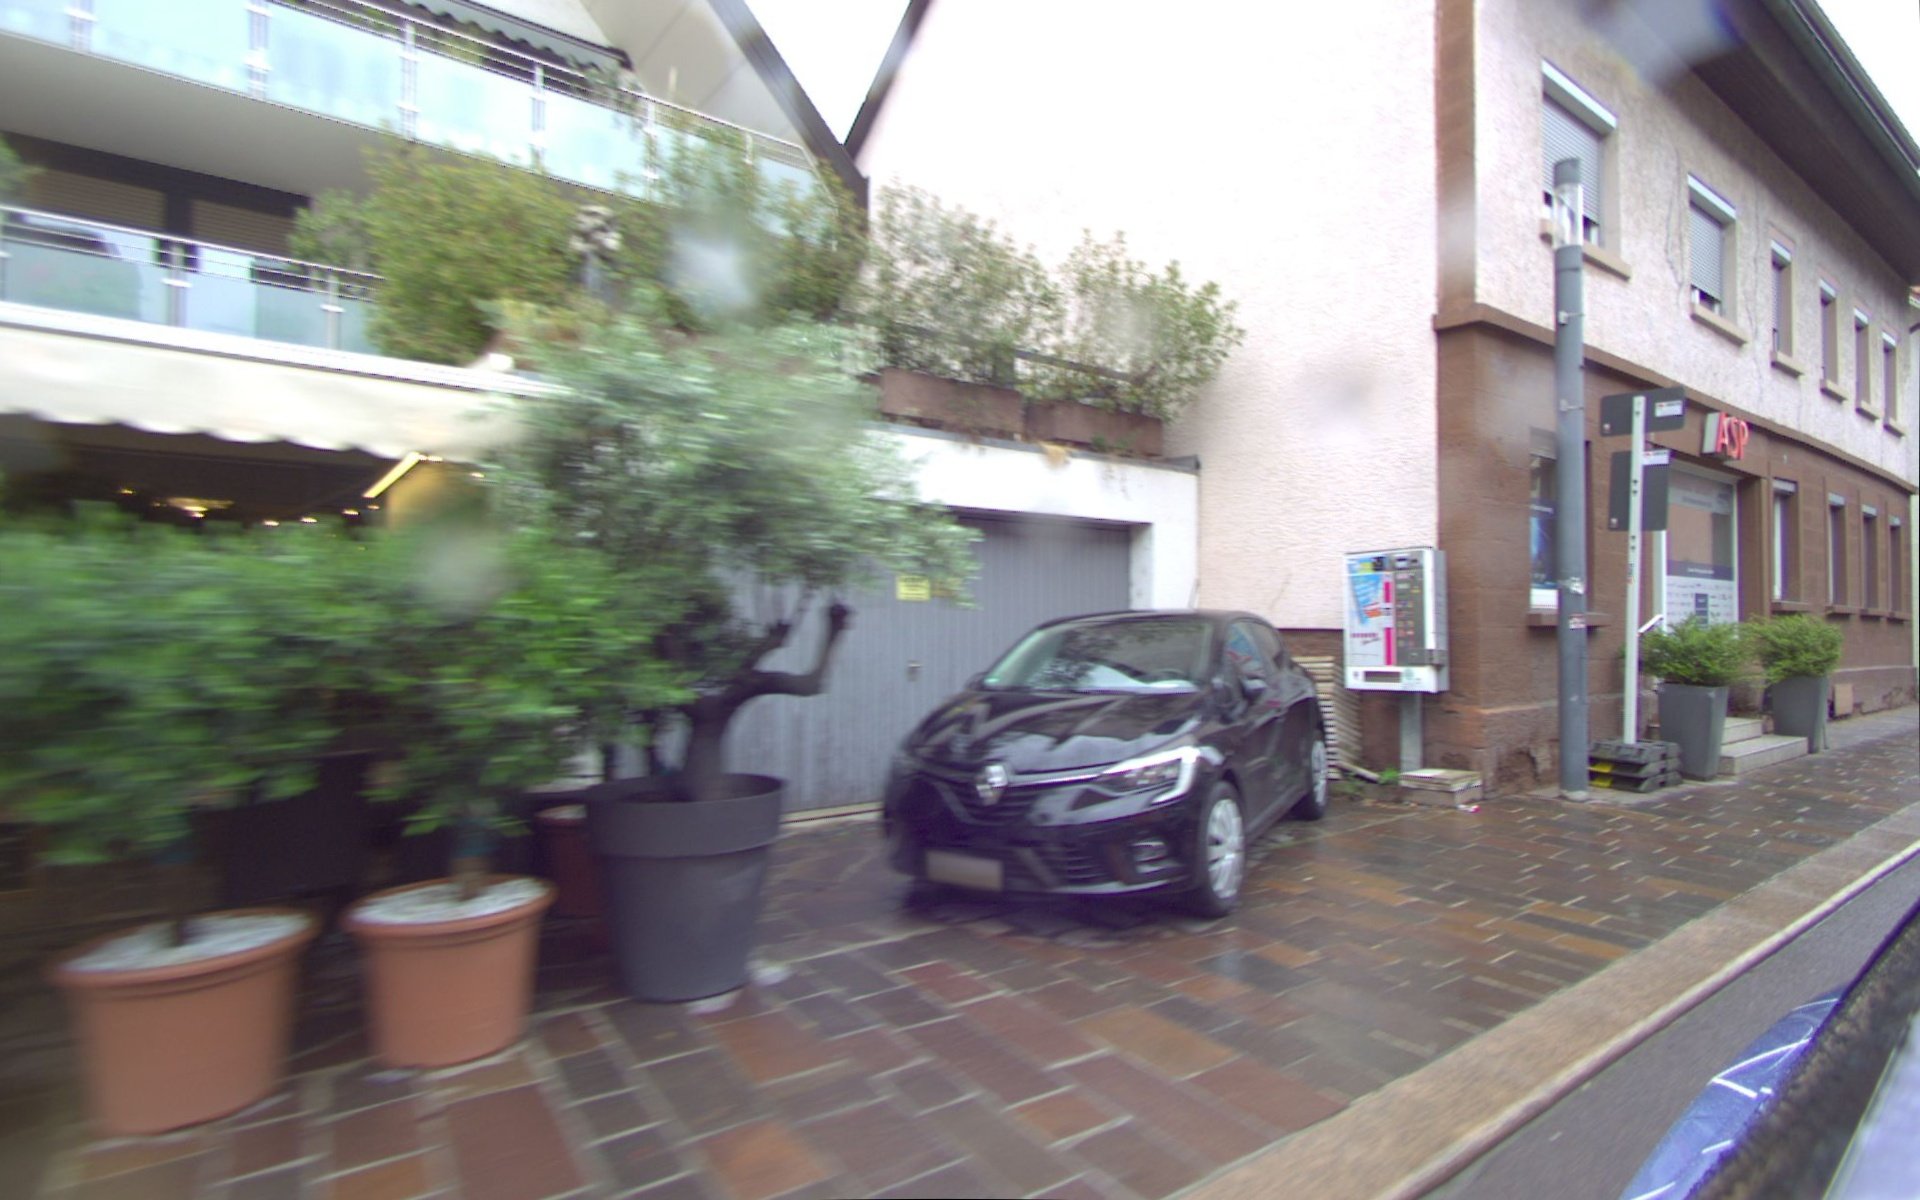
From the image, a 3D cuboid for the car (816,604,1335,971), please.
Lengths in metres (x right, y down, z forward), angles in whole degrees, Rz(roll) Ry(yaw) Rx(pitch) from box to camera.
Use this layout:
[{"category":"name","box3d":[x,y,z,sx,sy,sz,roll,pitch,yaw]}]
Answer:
[{"category":"car","box3d":[1.013,0.719,5.975,1.723,1.374,3.896,0,0,29]}]
